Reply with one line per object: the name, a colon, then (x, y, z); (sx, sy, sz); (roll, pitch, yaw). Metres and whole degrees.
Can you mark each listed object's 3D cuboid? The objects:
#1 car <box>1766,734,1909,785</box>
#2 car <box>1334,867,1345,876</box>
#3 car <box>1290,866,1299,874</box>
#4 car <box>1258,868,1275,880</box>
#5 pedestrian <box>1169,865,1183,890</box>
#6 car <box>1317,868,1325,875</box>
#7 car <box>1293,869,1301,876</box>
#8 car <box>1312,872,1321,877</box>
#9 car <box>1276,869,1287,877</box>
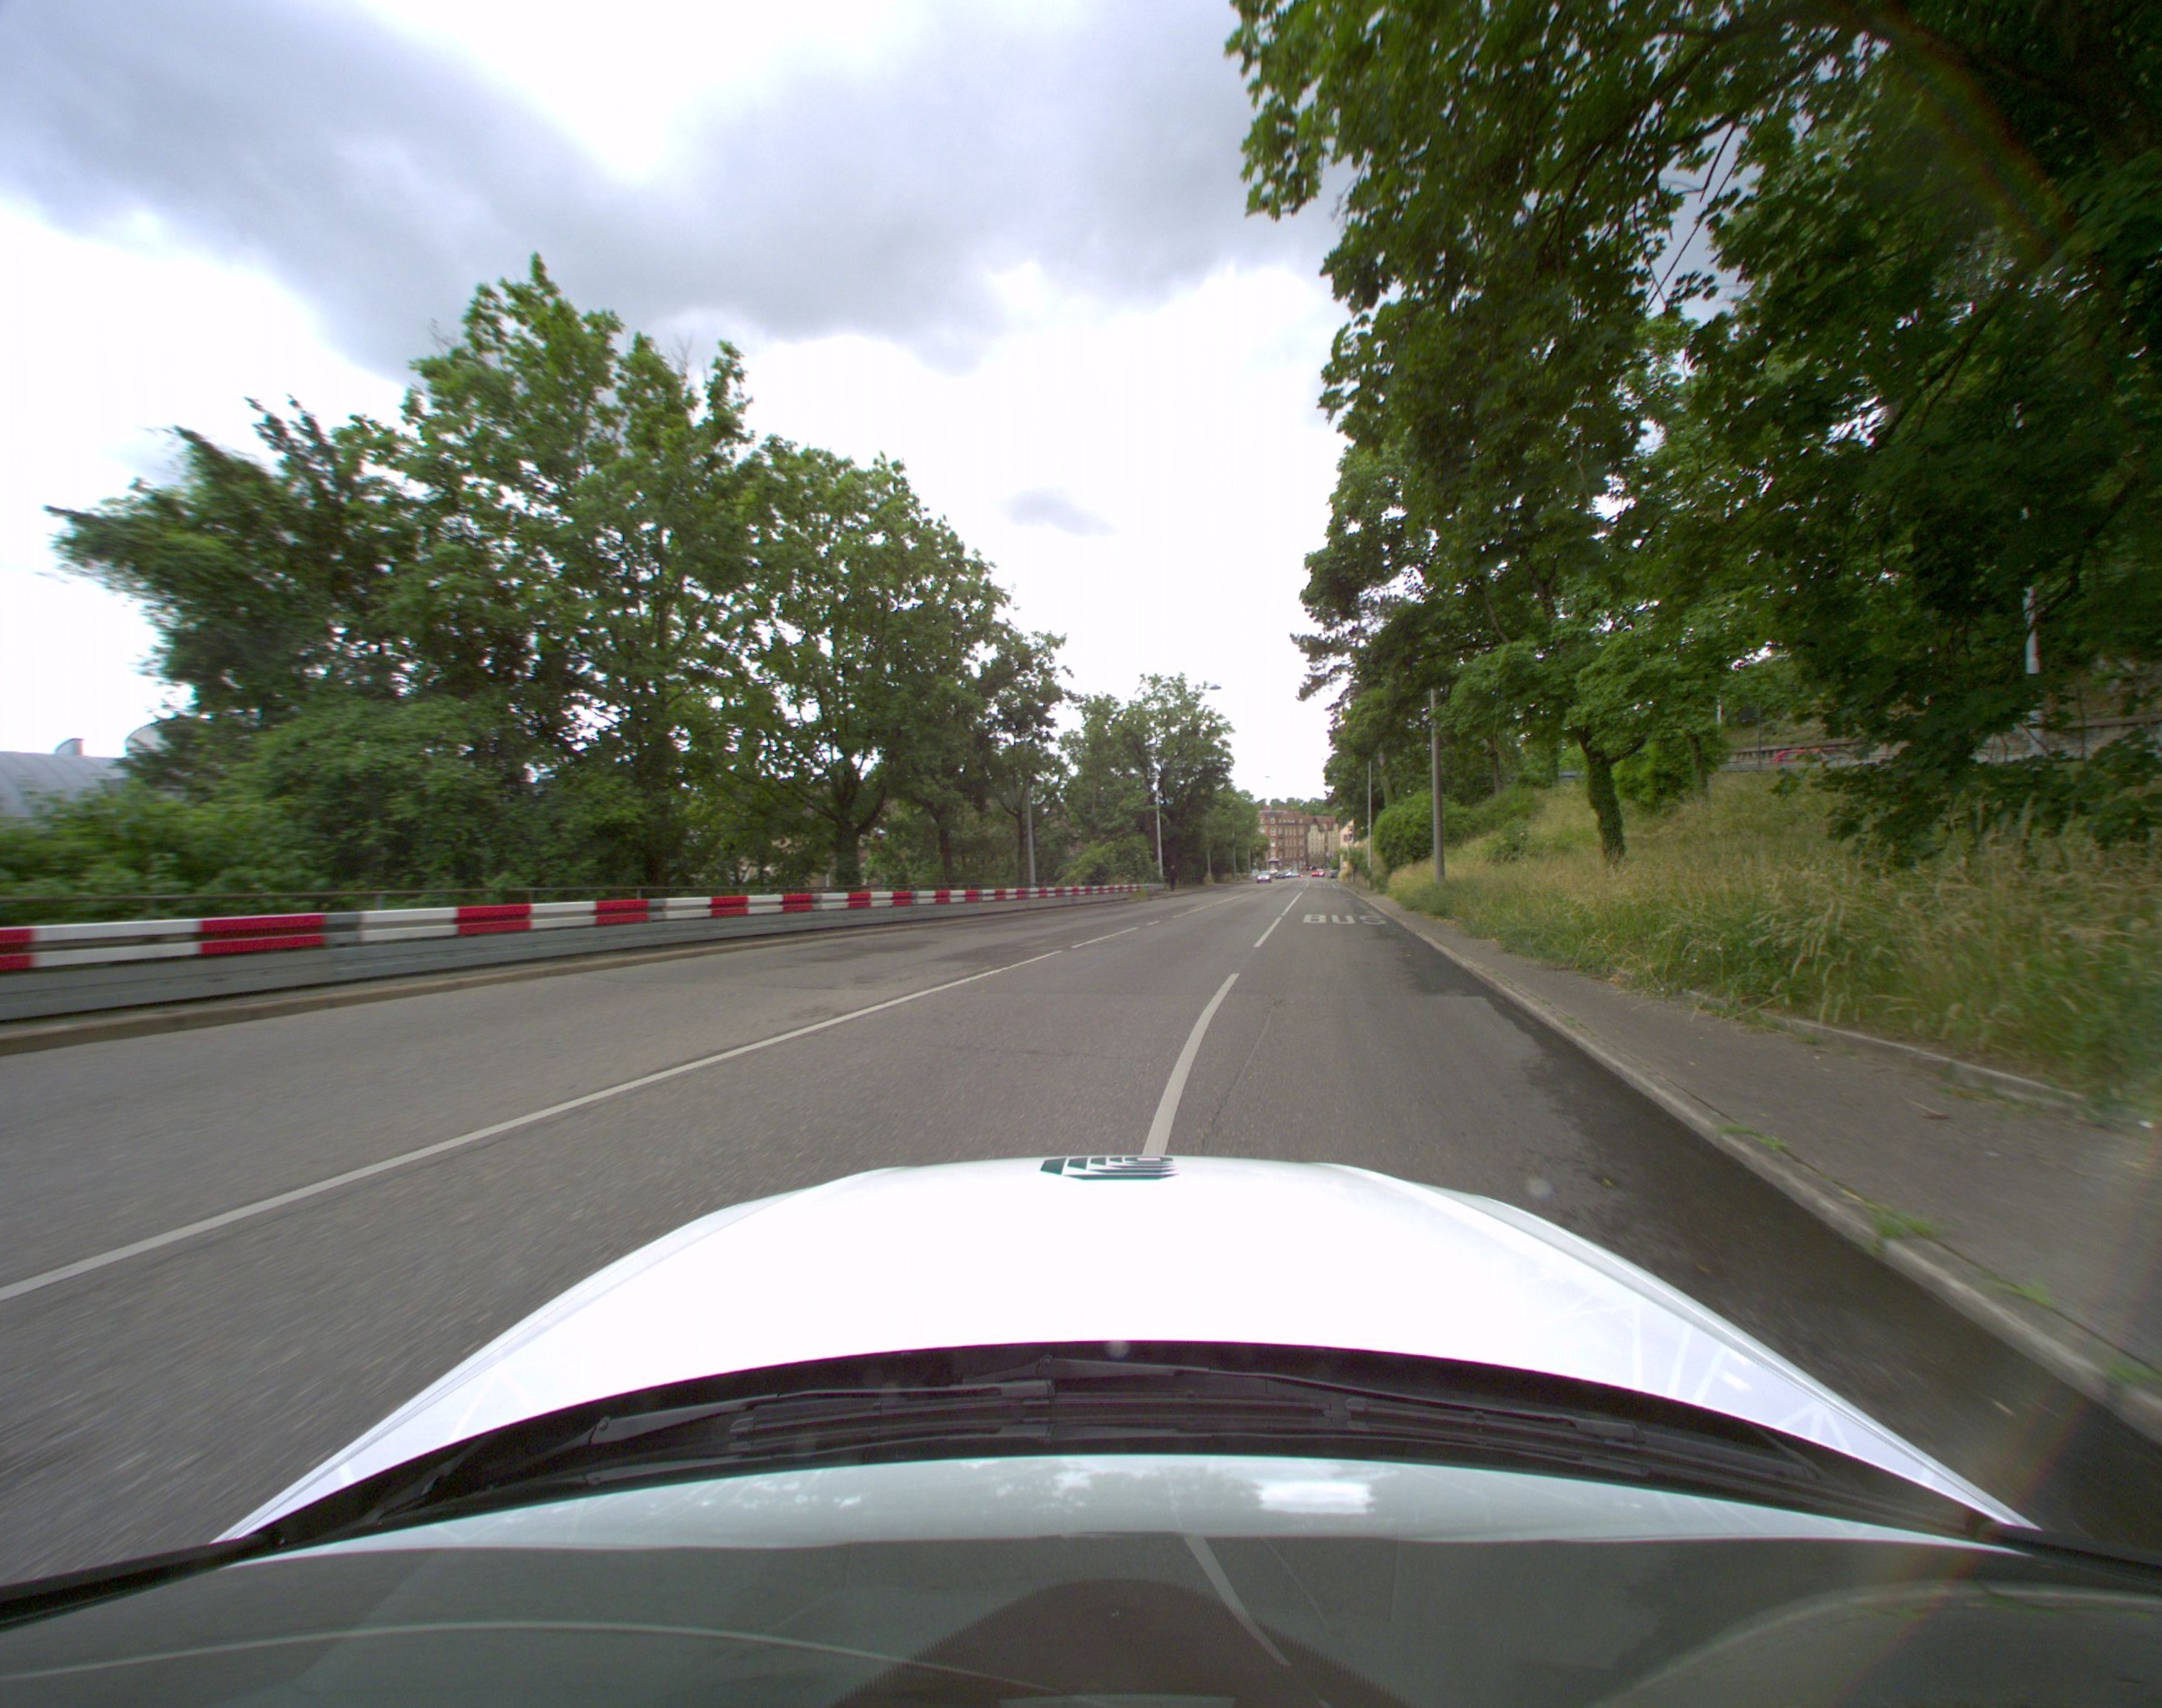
car: (29.890, -3.692, 32.360); (1.791, 1.510, 3.992); (0, -1, -5)
car: (46.533, 3.201, 146.628); (1.669, 1.451, 4.017); (-5, -3, 16)
car: (46.682, 3.474, 177.830); (1.780, 1.510, 4.017); (-2, -1, 17)
car: (23.799, 2.542, 104.580); (1.780, 1.427, 4.161); (-1, -1, 17)
pedestrian: (6.699, 1.662, 57.589); (0.783, 1.774, 1.213); (2, -1, 14)
car: (62.517, 4.632, 212.068); (1.893, 1.884, 4.020); (0, -2, 21)
car: (52.883, 4.611, 199.533); (1.770, 1.575, 4.298); (-2, -2, 16)
car: (58.786, 5.123, 203.210); (1.801, 1.430, 4.020); (0, -1, 21)
car: (36.406, 3.435, 148.153); (1.656, 1.447, 3.704); (-3, -2, 17)
